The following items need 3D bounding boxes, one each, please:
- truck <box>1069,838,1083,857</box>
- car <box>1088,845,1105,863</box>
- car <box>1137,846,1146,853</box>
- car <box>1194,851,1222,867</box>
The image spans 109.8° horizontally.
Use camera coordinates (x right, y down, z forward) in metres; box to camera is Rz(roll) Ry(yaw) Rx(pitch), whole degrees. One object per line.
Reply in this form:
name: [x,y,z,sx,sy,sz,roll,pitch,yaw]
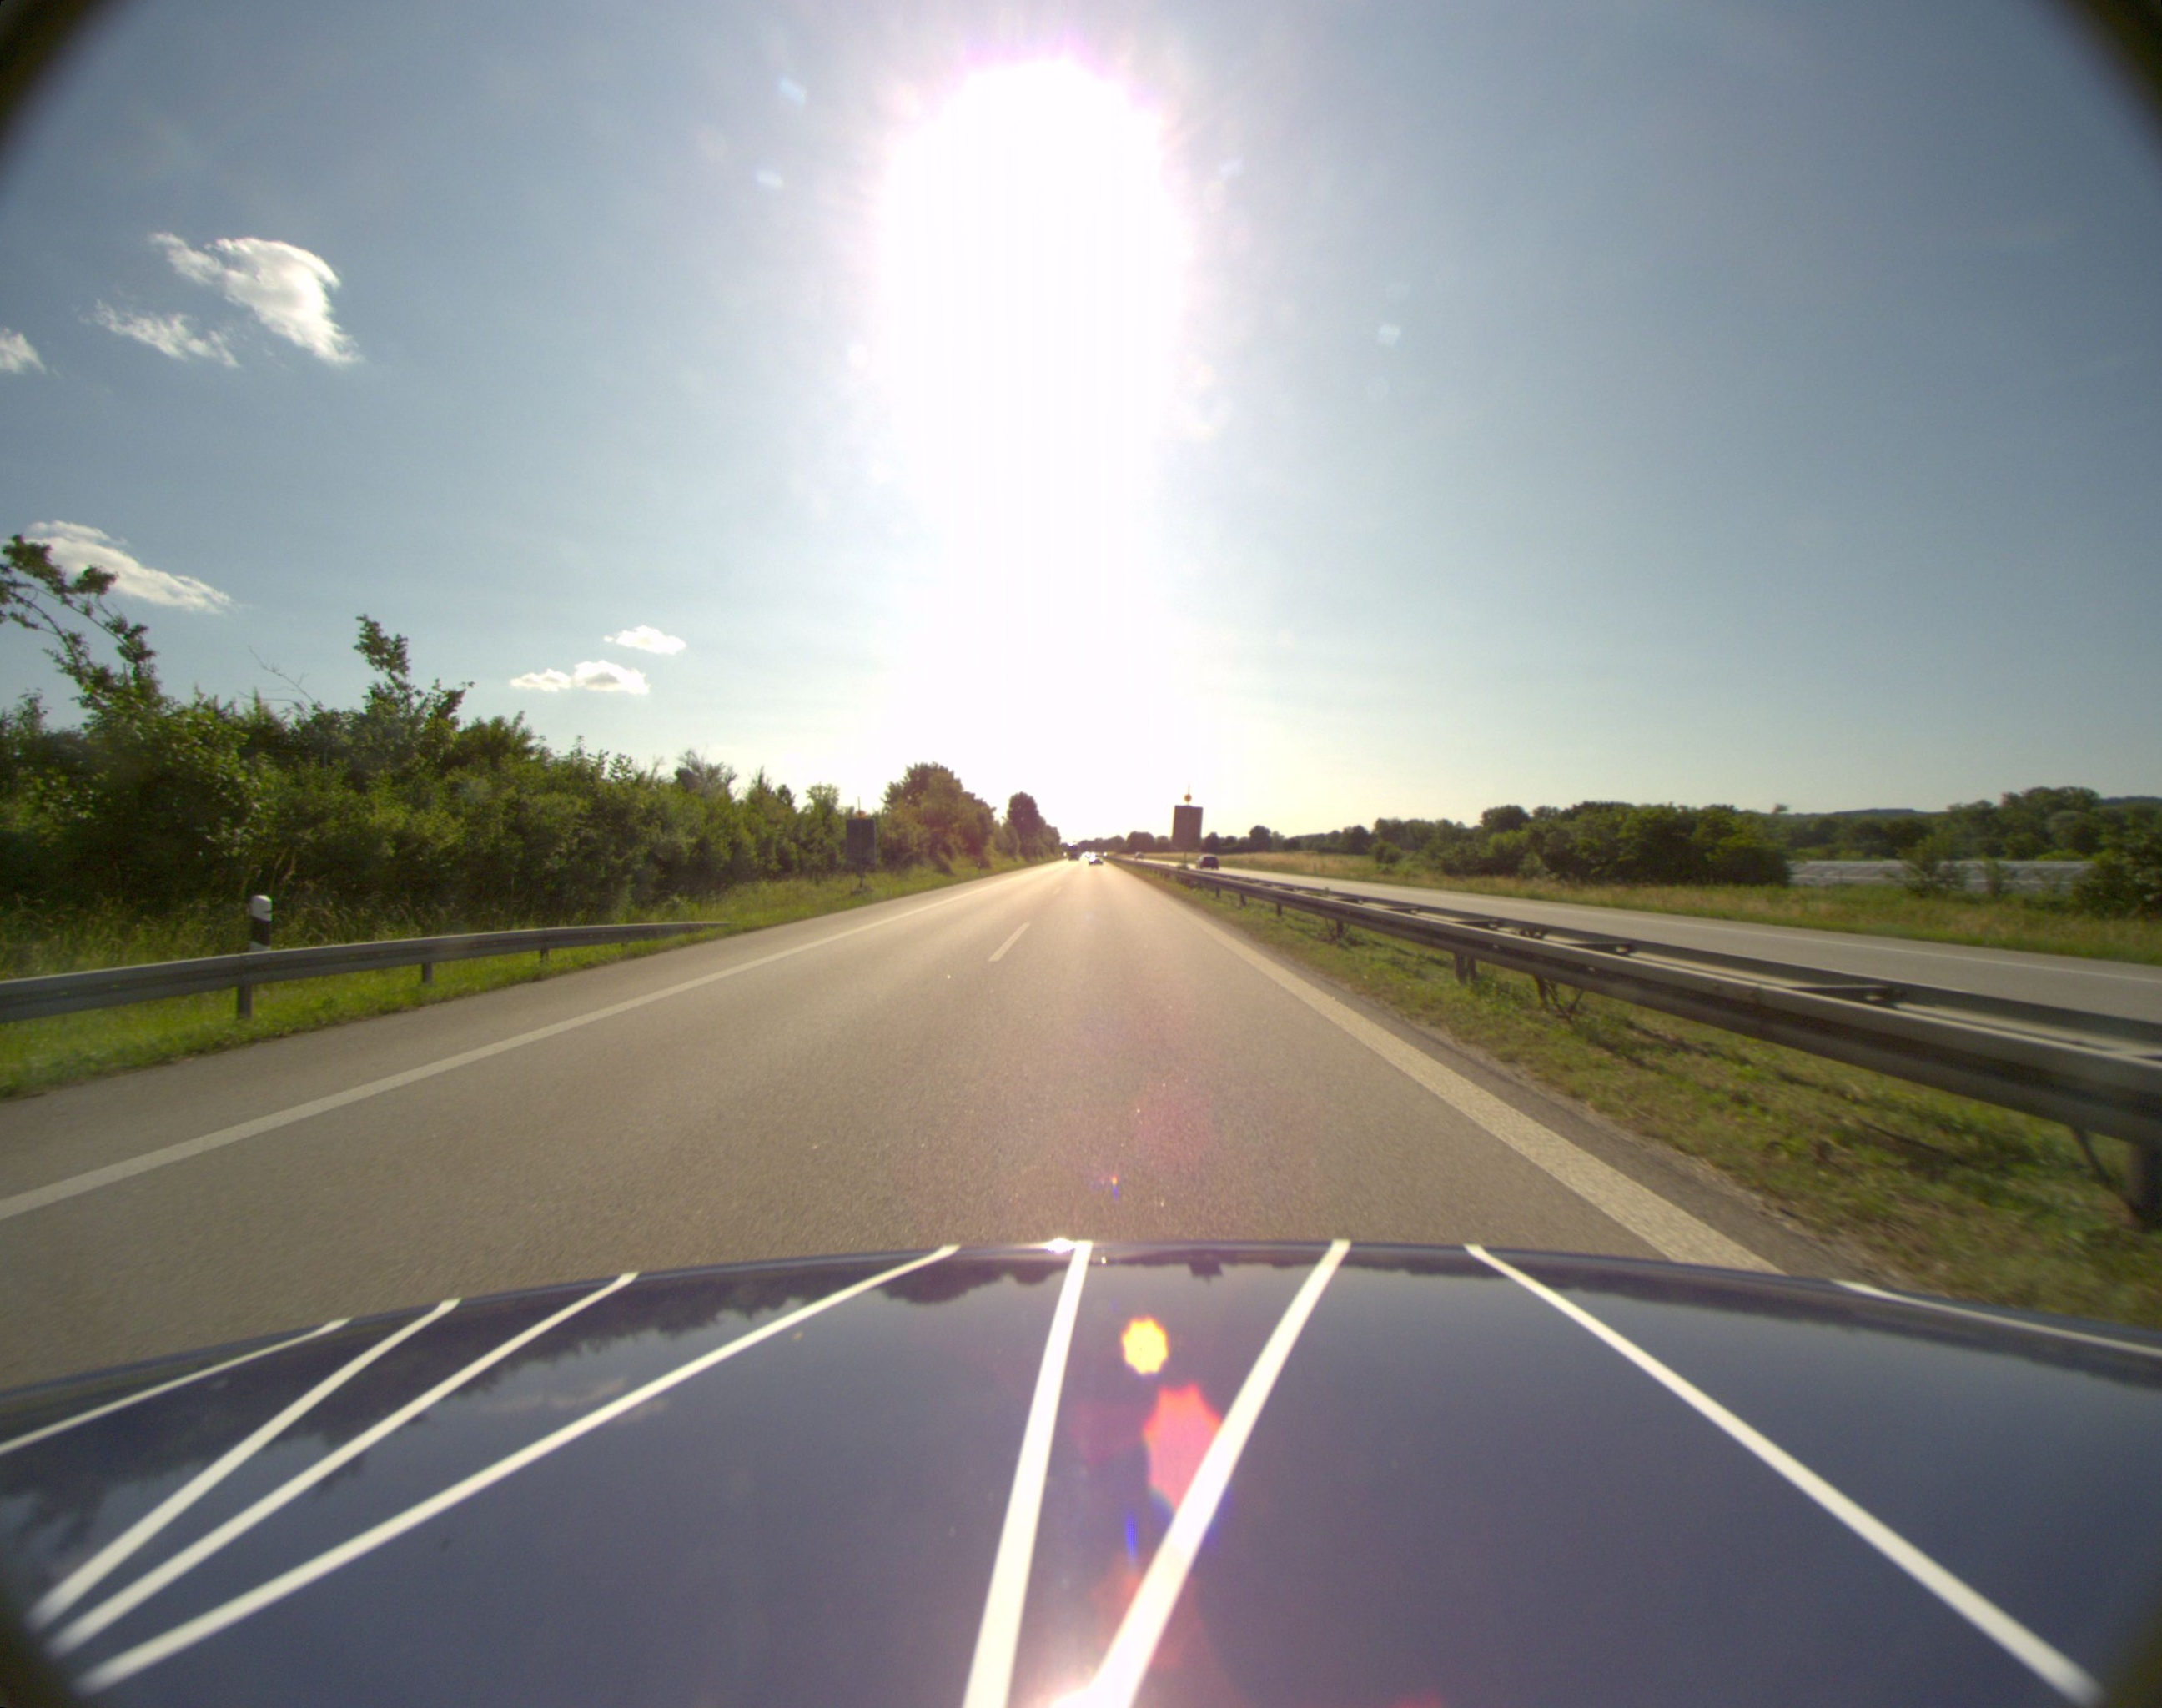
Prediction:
truck: [-1.138,-1.483,171.201,2.759,4.242,8.492,-2,1,1]
car: [1.954,-0.004,93.455,1.998,2.002,4.358,-2,1,1]
car: [14.946,-1.166,186.940,1.907,1.673,4.730,0,1,1]
car: [12.242,0.425,73.607,1.837,1.390,4.922,2,0,0]
